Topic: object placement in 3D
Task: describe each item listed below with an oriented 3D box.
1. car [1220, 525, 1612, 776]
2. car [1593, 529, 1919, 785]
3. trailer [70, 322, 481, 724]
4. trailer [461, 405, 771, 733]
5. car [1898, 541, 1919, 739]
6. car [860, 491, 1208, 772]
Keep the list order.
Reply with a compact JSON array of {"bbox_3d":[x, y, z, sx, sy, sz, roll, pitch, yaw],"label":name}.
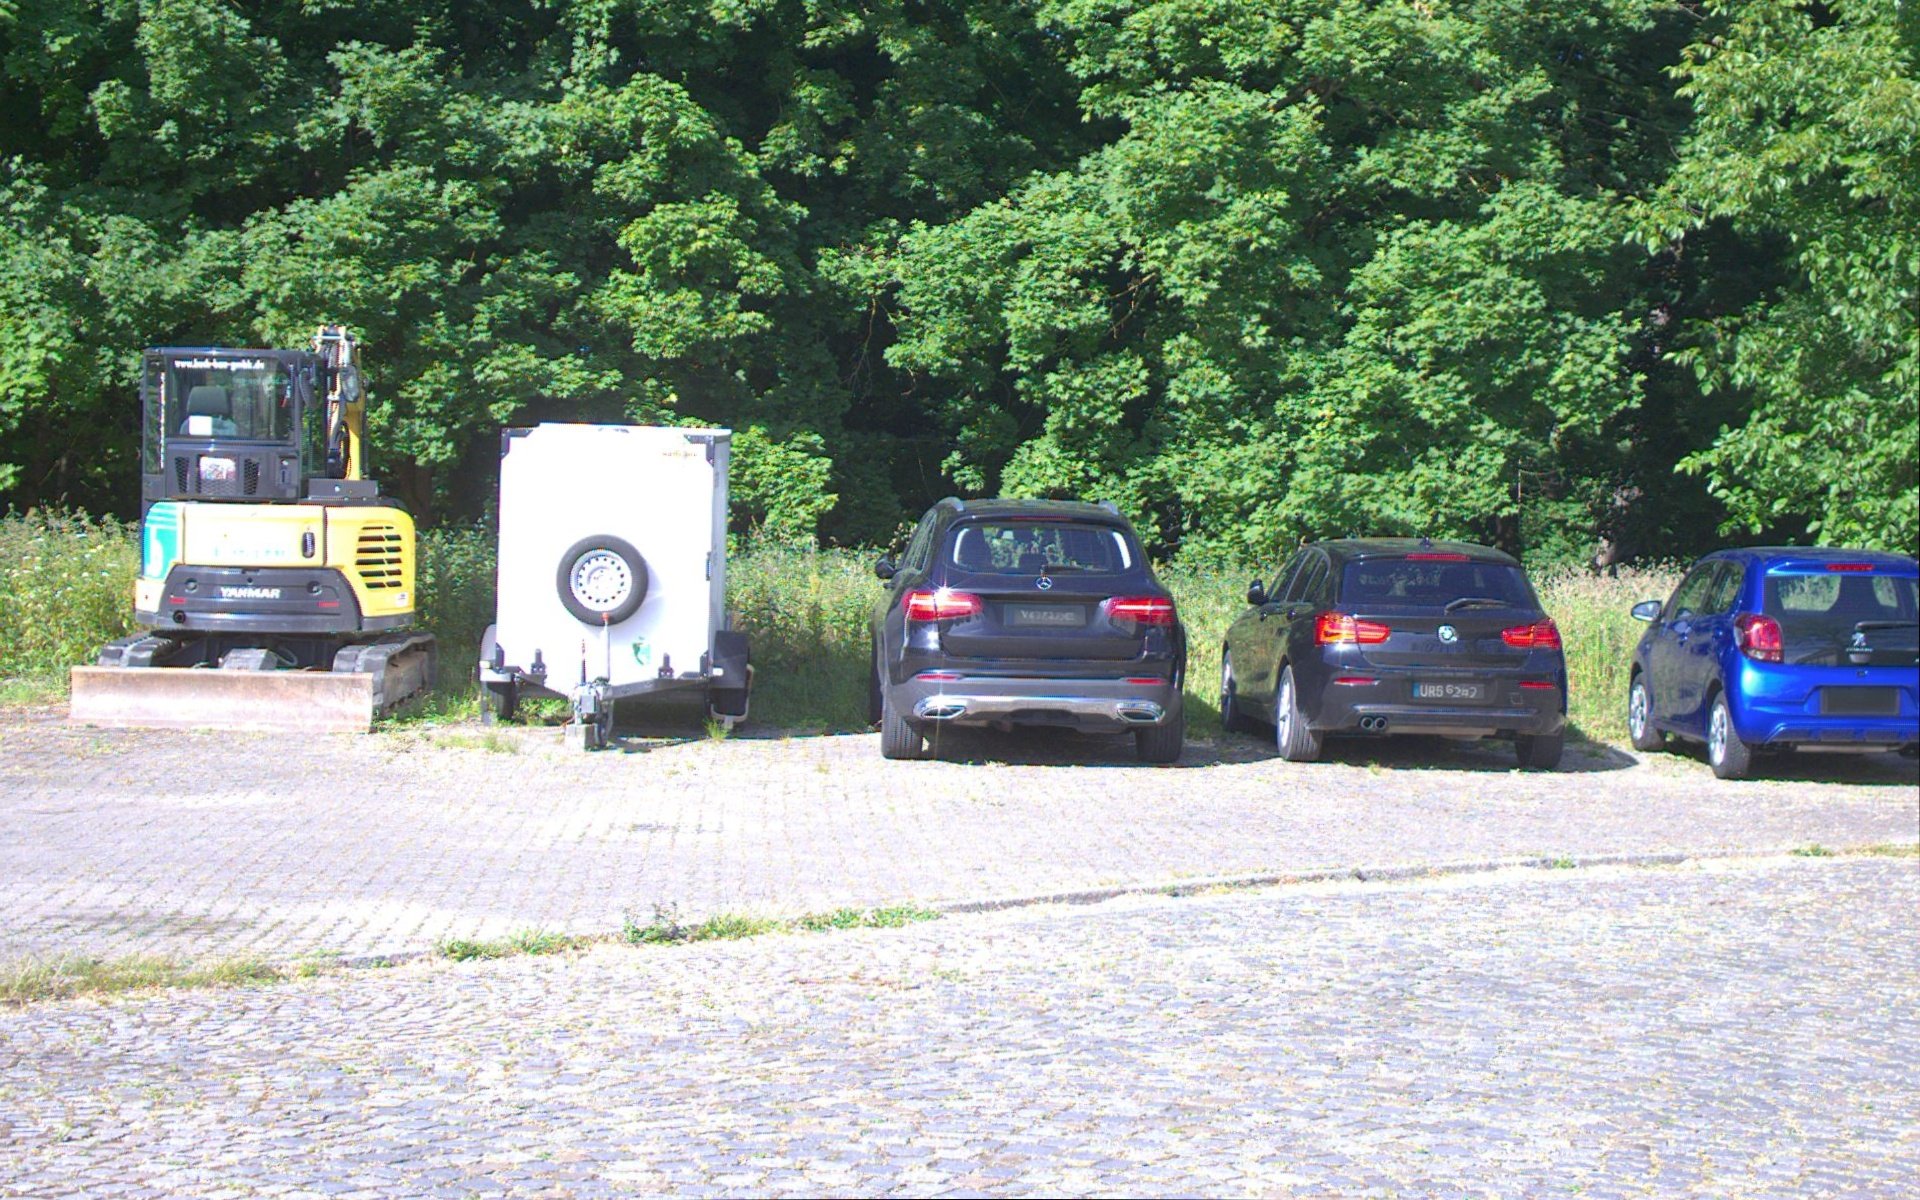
[{"bbox_3d":[2.916,0.269,22.780,1.889,1.406,3.791,2,2,-3],"label":"car"},{"bbox_3d":[5.541,0.319,22.949,1.780,1.453,3.790,2,2,-2],"label":"car"},{"bbox_3d":[-4.638,-0.604,23.698,2.258,2.529,2.851,2,4,-1],"label":"trailer"},{"bbox_3d":[-2.287,-0.247,23.498,1.818,2.043,2.851,2,2,-1],"label":"trailer"},{"bbox_3d":[7.940,0.378,24.264,1.739,1.446,3.725,2,2,3],"label":"car"},{"bbox_3d":[0.381,0.125,22.552,1.964,1.584,4.132,2,2,-3],"label":"car"}]
